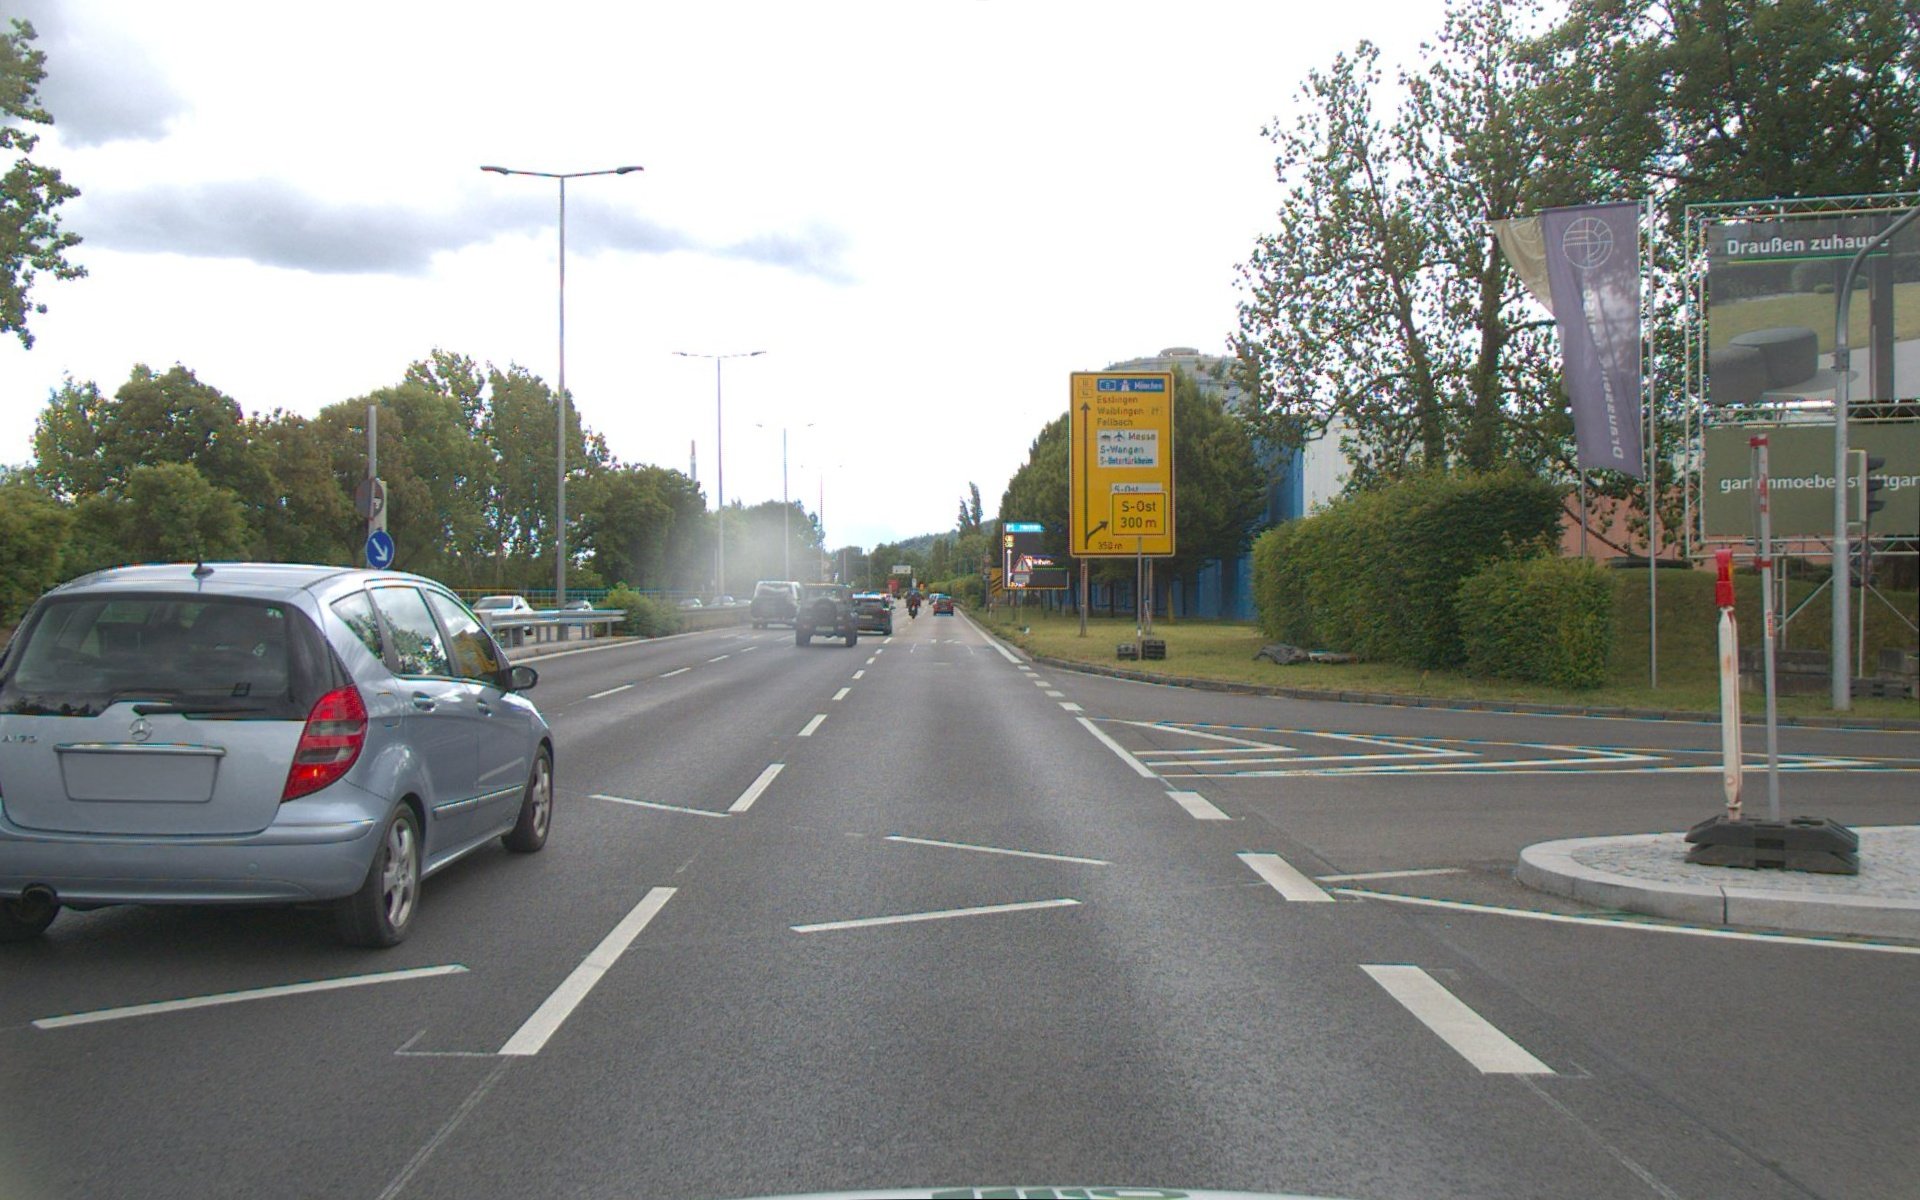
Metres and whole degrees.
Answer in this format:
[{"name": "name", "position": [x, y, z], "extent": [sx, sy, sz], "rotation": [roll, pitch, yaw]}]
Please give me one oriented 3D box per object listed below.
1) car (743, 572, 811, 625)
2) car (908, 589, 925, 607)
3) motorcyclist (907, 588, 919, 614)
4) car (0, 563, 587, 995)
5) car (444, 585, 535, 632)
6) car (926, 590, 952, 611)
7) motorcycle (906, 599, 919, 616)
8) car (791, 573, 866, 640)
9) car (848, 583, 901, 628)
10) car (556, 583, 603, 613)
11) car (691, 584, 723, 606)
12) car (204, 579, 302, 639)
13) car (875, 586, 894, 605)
[{"name": "car", "position": [-7.257, -0.101, 66.059], "extent": [2.169, 1.959, 5.002], "rotation": [2, 1, -1]}, {"name": "car", "position": [-5.414, -0.294, 204.490], "extent": [1.953, 2.048, 4.000], "rotation": [2, 1, -1]}, {"name": "motorcyclist", "position": [-3.064, 0.071, 107.304], "extent": [0.671, 1.638, 0.845], "rotation": [2, 1, 0]}, {"name": "car", "position": [-3.107, 0.632, 8.167], "extent": [1.676, 1.556, 3.999], "rotation": [2, 1, -2]}, {"name": "car", "position": [-16.929, 0.272, 59.724], "extent": [1.953, 1.519, 4.804], "rotation": [2, 1, -1]}, {"name": "car", "position": [-1.749, 0.034, 136.261], "extent": [1.954, 1.579, 3.999], "rotation": [2, 1, -2]}, {"name": "motorcycle", "position": [-3.081, 0.478, 107.270], "extent": [0.692, 1.058, 2.027], "rotation": [2, 1, 0]}, {"name": "car", "position": [-3.692, 0.145, 46.957], "extent": [1.869, 1.713, 3.999], "rotation": [2, 1, -2]}, {"name": "car", "position": [-3.098, 0.186, 60.603], "extent": [1.803, 1.489, 3.999], "rotation": [2, 1, -1]}, {"name": "car", "position": [-22.876, -0.121, 99.557], "extent": [1.953, 1.668, 4.000], "rotation": [2, 1, -1]}, {"name": "car", "position": [-20.483, -0.435, 133.959], "extent": [1.953, 1.668, 4.000], "rotation": [2, 1, -1]}, {"name": "car", "position": [-18.984, 0.207, 44.487], "extent": [1.443, 1.488, 2.737], "rotation": [2, 1, -1]}, {"name": "car", "position": [-8.764, -0.572, 191.678], "extent": [1.953, 2.048, 4.000], "rotation": [2, 1, -1]}]
